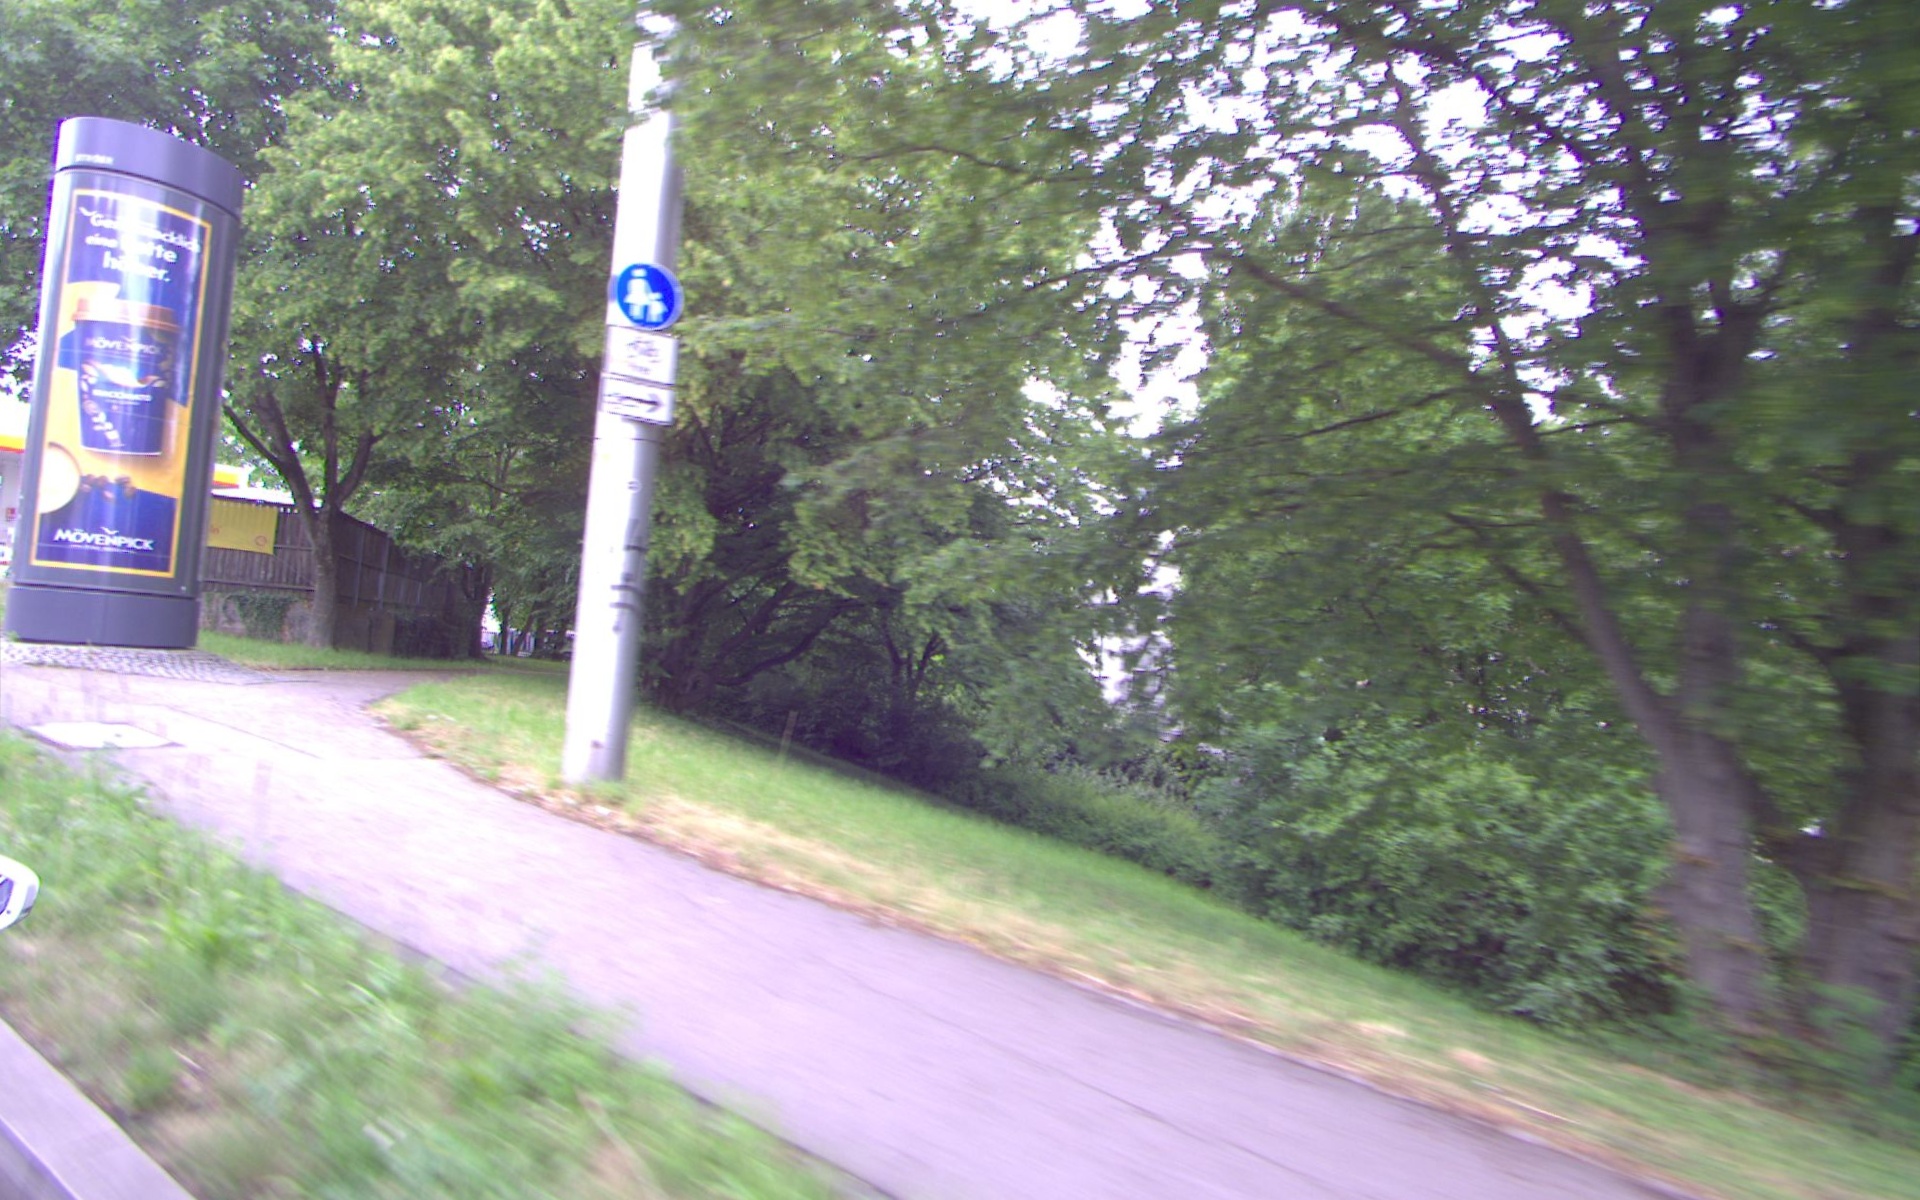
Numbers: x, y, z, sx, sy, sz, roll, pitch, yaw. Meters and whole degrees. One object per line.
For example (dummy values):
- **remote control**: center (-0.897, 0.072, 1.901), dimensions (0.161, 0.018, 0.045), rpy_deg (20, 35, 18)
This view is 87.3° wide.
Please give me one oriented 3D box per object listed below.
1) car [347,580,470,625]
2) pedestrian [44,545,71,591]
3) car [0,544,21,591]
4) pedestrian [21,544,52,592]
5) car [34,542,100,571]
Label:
- **car**: center (-21.859, 0.105, 39.950), dimensions (4.066, 1.453, 1.708), rpy_deg (5, -1, -35)
- **pedestrian**: center (-35.437, -1.269, 39.498), dimensions (0.424, 1.725, 0.493), rpy_deg (6, -1, 23)
- **car**: center (-33.494, -1.189, 33.956), dimensions (3.817, 1.503, 1.737), rpy_deg (2, -3, 34)
- **pedestrian**: center (-35.352, -1.229, 38.497), dimensions (0.599, 1.725, 0.543), rpy_deg (6, -1, 26)
- **car**: center (-62.653, -3.034, 70.650), dimensions (1.575, 1.361, 3.592), rpy_deg (7, -7, -8)
